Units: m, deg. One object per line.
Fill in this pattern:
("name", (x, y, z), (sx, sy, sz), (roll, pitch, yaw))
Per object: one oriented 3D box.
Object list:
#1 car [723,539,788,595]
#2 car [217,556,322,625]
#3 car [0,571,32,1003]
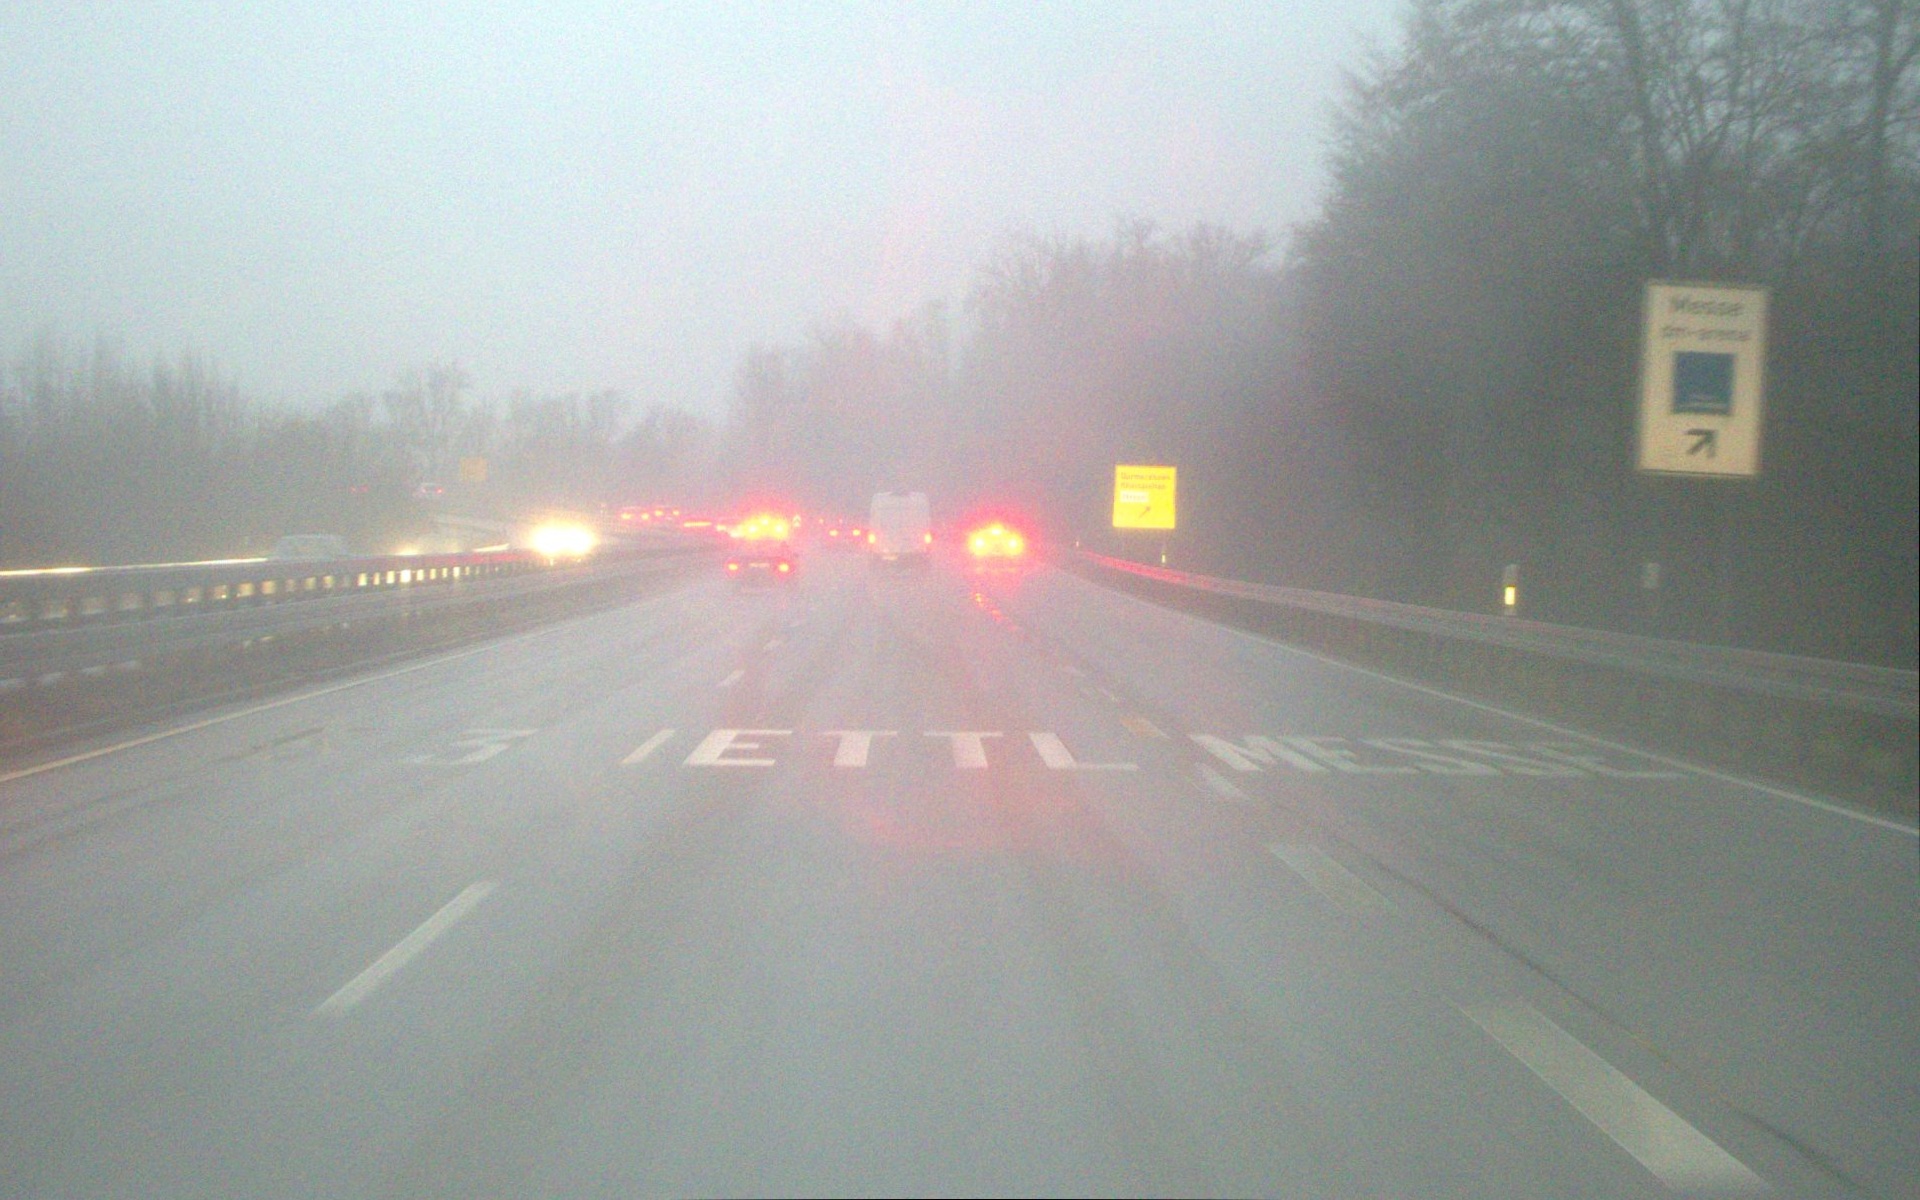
("car", (-5.072, -0.831, 85.425), (1.416, 1.312, 3.083), (2, 1, -1))
("car", (-15.281, -0.226, 76.214), (1.615, 1.459, 3.645), (1, 1, -1))
("car", (-3.827, 0.595, 9.268), (1.625, 1.387, 4.000), (2, 1, -2))
